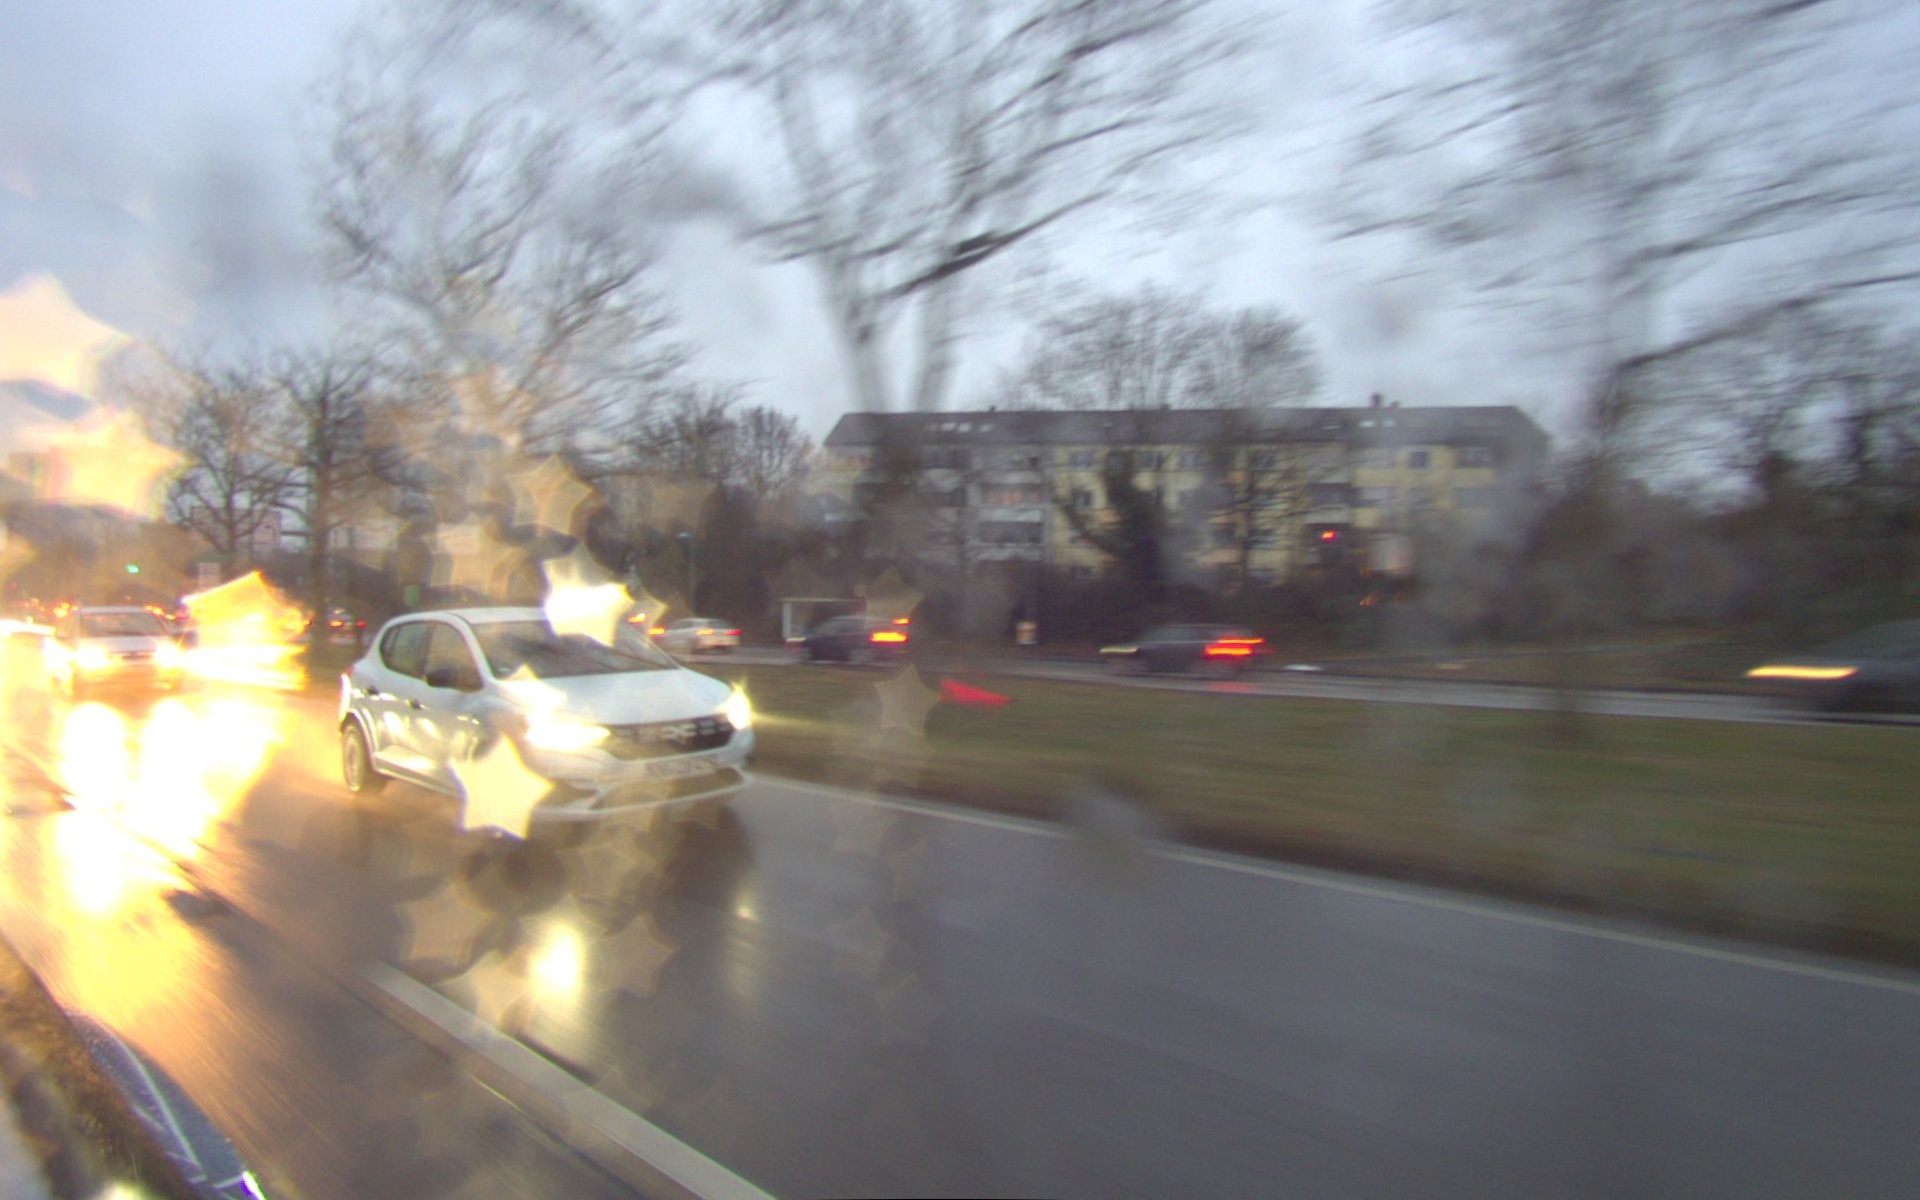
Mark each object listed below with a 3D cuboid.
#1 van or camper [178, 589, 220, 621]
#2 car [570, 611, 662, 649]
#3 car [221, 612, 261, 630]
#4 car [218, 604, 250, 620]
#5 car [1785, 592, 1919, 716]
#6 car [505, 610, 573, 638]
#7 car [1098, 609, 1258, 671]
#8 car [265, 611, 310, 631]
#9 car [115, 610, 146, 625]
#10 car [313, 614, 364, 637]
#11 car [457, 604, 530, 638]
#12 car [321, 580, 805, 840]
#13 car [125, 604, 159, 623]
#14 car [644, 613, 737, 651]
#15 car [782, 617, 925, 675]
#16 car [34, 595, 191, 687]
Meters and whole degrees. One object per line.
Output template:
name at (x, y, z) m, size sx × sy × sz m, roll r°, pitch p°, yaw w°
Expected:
van or camper at (-63.374, 0.410, 84.256) m, size 4.737 × 2.629 × 1.942 m, roll 0°, pitch -1°, yaw 42°
car at (-13.320, 1.136, 39.121) m, size 3.955 × 1.364 × 1.631 m, roll 0°, pitch -1°, yaw 42°
car at (-53.303, 1.519, 75.003) m, size 3.999 × 1.302 × 1.521 m, roll 0°, pitch -1°, yaw 42°
car at (-65.780, 1.040, 91.684) m, size 4.000 × 1.415 × 1.553 m, roll 0°, pitch 0°, yaw 43°
car at (14.009, 0.735, 13.976) m, size 3.979 × 1.694 × 1.600 m, roll -1°, pitch -1°, yaw 42°
car at (-21.343, 1.189, 51.295) m, size 3.701 × 1.364 × 1.632 m, roll 0°, pitch -1°, yaw 39°
car at (5.609, 0.994, 26.303) m, size 3.790 × 1.479 × 1.614 m, roll 0°, pitch -1°, yaw 42°
car at (-45.099, 1.381, 67.822) m, size 3.999 × 1.321 × 1.521 m, roll 0°, pitch -1°, yaw 42°
car at (-70.857, 1.448, 86.440) m, size 3.998 × 1.206 × 1.440 m, roll 0°, pitch 0°, yaw 41°
car at (-36.982, 1.505, 60.188) m, size 3.955 × 1.338 × 1.521 m, roll 0°, pitch -1°, yaw 42°
car at (-21.655, 0.962, 46.930) m, size 3.955 × 1.511 × 1.631 m, roll 0°, pitch -1°, yaw 42°
car at (-3.205, 0.633, 7.712) m, size 4.224 × 1.451 × 1.706 m, roll 0°, pitch -1°, yaw 42°
car at (-66.690, 1.105, 82.494) m, size 3.999 × 1.514 × 1.553 m, roll 0°, pitch 0°, yaw 42°
car at (-11.285, 1.297, 42.231) m, size 4.270 × 1.500 × 1.700 m, roll 0°, pitch -1°, yaw 42°
car at (-3.210, 1.305, 30.007) m, size 4.376 × 1.545 × 1.764 m, roll 0°, pitch -1°, yaw 42°
car at (-16.596, 0.734, 19.749) m, size 4.163 × 1.611 × 1.743 m, roll 0°, pitch -1°, yaw 42°
